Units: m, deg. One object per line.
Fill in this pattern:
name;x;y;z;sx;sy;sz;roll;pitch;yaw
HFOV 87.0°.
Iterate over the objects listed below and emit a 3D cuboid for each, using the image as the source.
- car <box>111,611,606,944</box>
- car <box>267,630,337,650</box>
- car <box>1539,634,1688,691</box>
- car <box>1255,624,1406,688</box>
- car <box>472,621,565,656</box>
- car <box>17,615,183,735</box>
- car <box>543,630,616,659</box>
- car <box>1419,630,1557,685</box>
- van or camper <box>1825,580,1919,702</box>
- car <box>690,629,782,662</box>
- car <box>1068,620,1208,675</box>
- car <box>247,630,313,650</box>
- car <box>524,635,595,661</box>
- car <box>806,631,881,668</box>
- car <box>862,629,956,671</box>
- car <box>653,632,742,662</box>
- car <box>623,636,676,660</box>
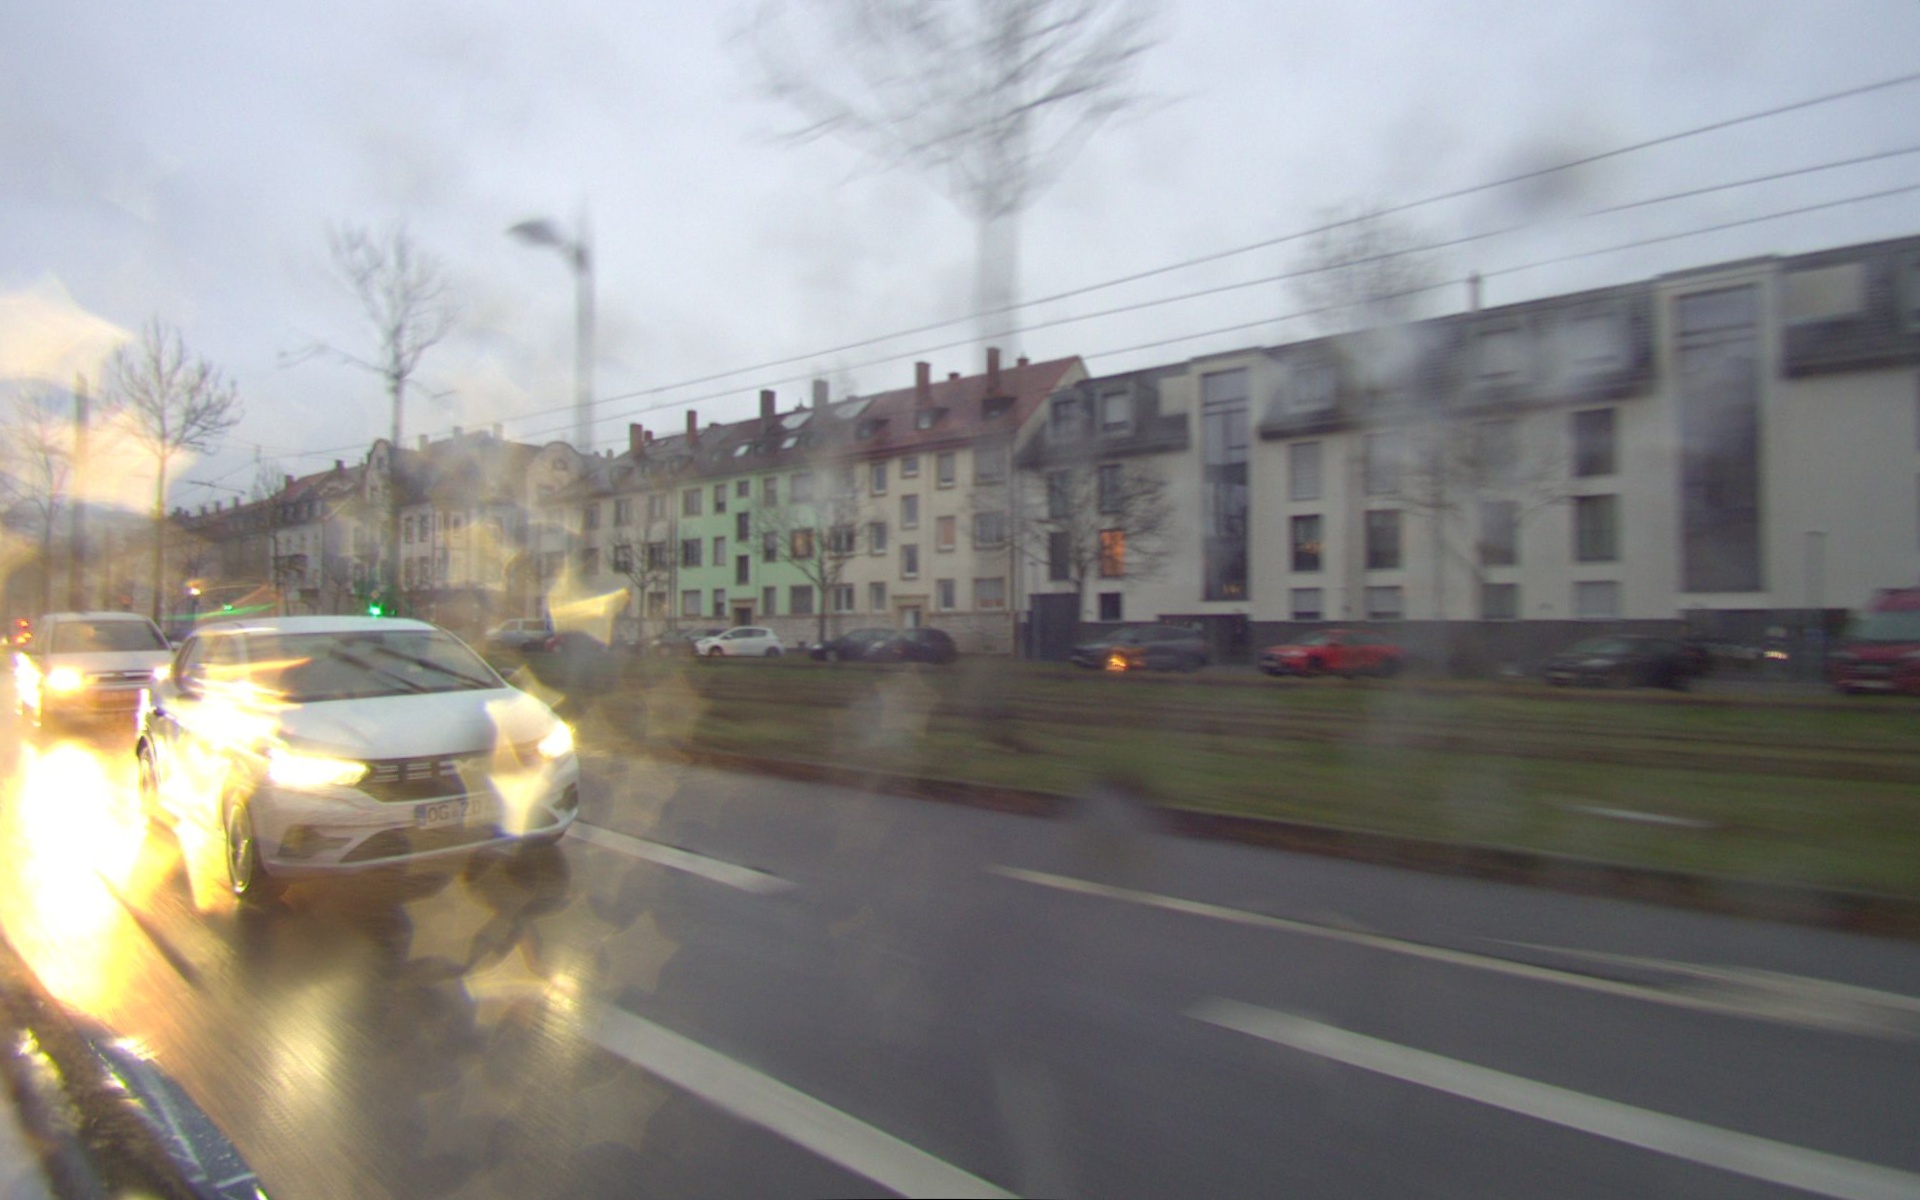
car;-4.097;0.854;6.596;4.000;1.485;1.670;-1;0;42
car;-49.921;3.050;76.827;4.037;1.169;1.717;-3;2;-13
car;15.839;1.483;24.568;2.841;1.213;1.391;-1;0;-11
car;10.630;1.565;29.064;3.783;1.600;1.747;-1;0;-19
car;-24.756;2.152;56.921;4.579;1.736;1.839;-2;0;-19
car;-13.017;1.025;15.231;1.615;1.531;3.910;-1;0;-45
car;-19.852;2.281;52.886;3.519;1.319;1.692;-2;0;-20
car;14.179;1.522;27.207;3.046;1.312;1.391;-1;0;-11
van or camper;21.763;0.744;21.424;6.763;2.378;2.006;-1;0;-19
car;-9.948;1.993;44.973;3.777;1.255;1.743;-2;0;-20
car;5.735;1.501;32.742;4.092;1.552;1.675;-1;0;-16
car;-52.708;3.089;78.550;3.976;1.239;1.352;-3;2;-16
car;-21.499;2.567;54.440;3.510;1.149;1.742;-2;0;-20
car;-4.685;1.978;40.870;2.892;1.346;1.740;-2;0;-5
car;-1.978;1.907;38.865;3.329;1.432;1.674;-1;0;-14
car;-12.048;2.162;46.597;3.761;1.181;1.741;-2;0;-8
car;-14.985;2.300;48.855;2.351;1.056;1.441;-2;-1;-20
